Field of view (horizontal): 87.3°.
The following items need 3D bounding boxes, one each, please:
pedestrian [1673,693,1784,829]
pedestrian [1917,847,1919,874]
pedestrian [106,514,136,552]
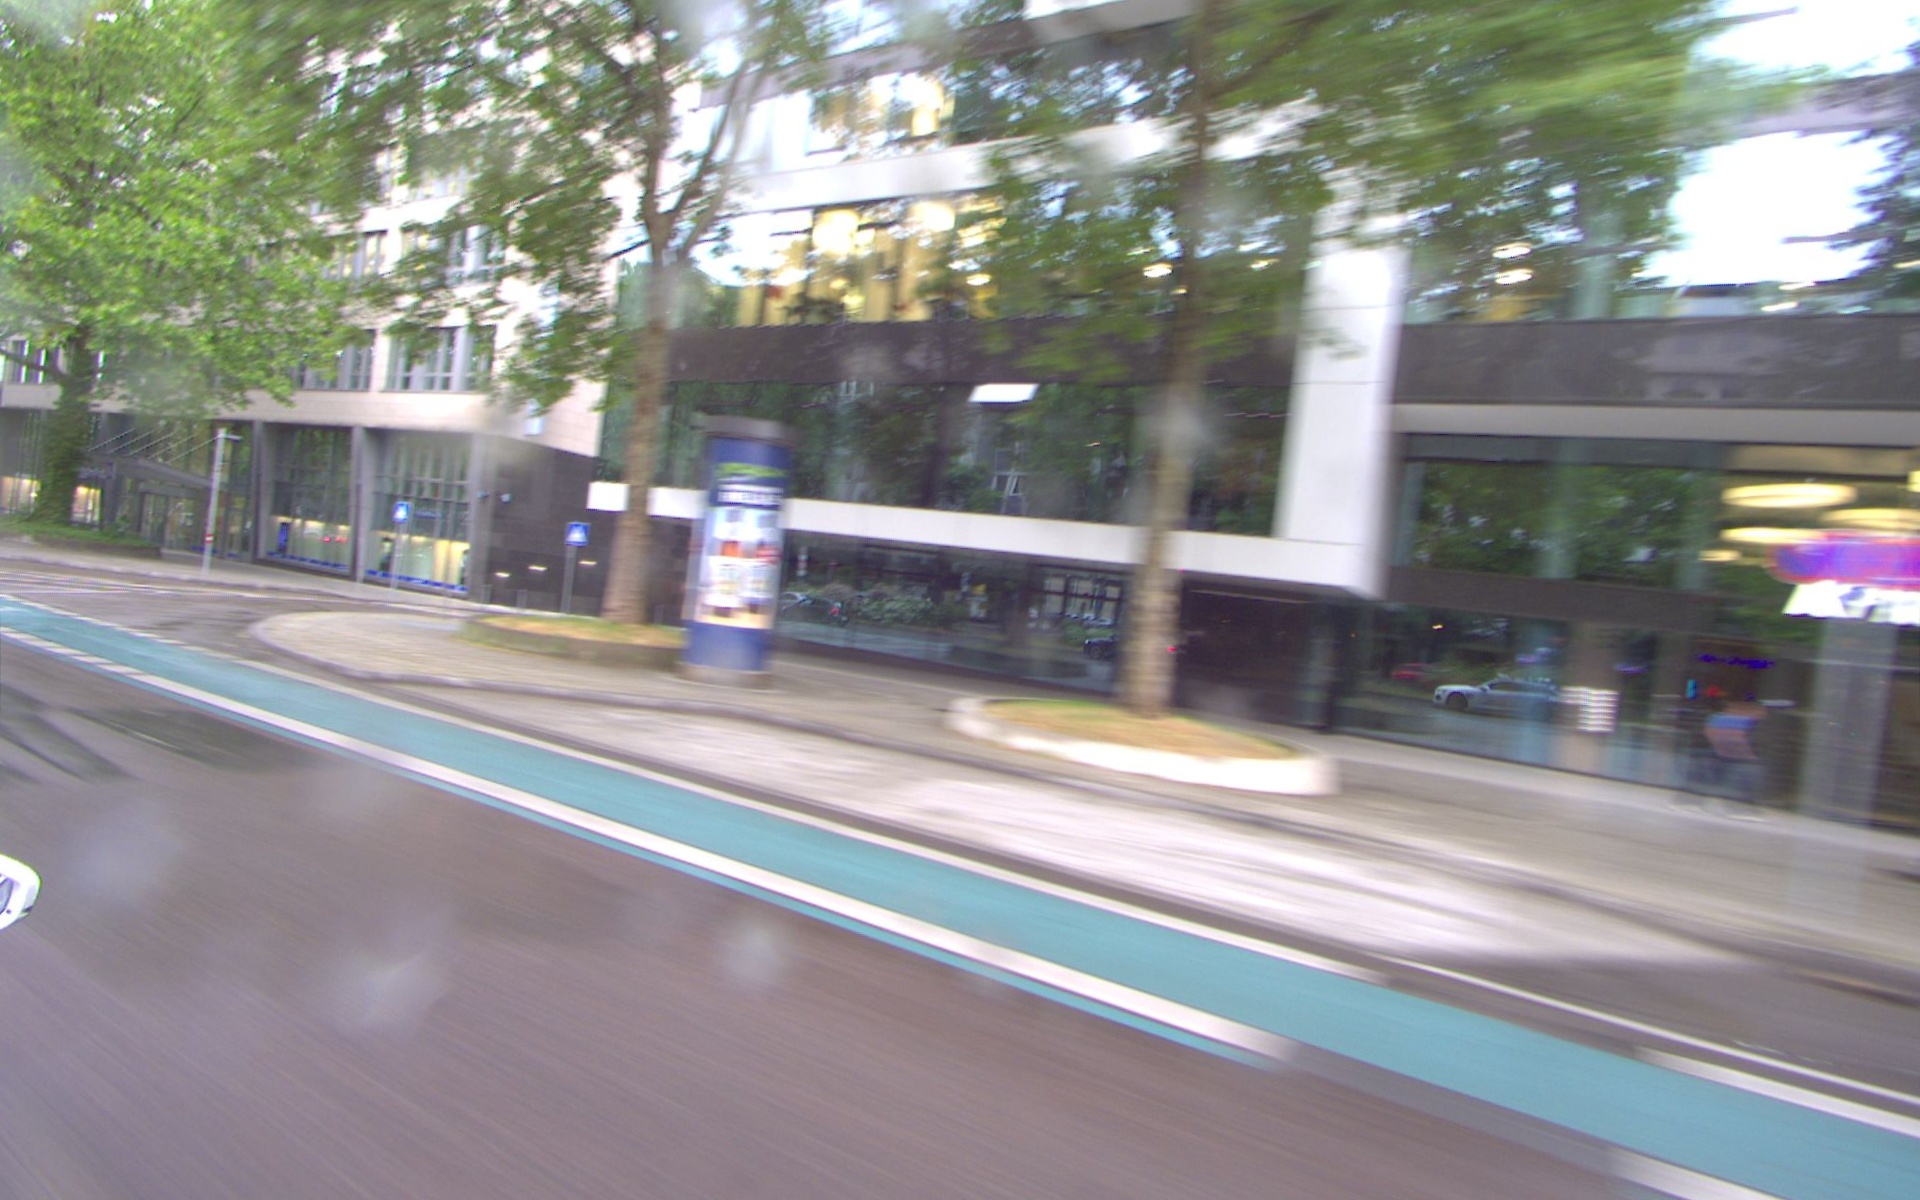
[{"bbox_3d":[11.678,2.411,15.333,1.069,1.817,0.787,8,3,32],"label":"pedestrian"},{"bbox_3d":[12.408,2.694,12.153,0.989,1.524,0.587,7,0,32],"label":"pedestrian"},{"bbox_3d":[-41.321,-3.291,49.569,0.718,1.714,0.825,7,1,-16],"label":"pedestrian"}]
